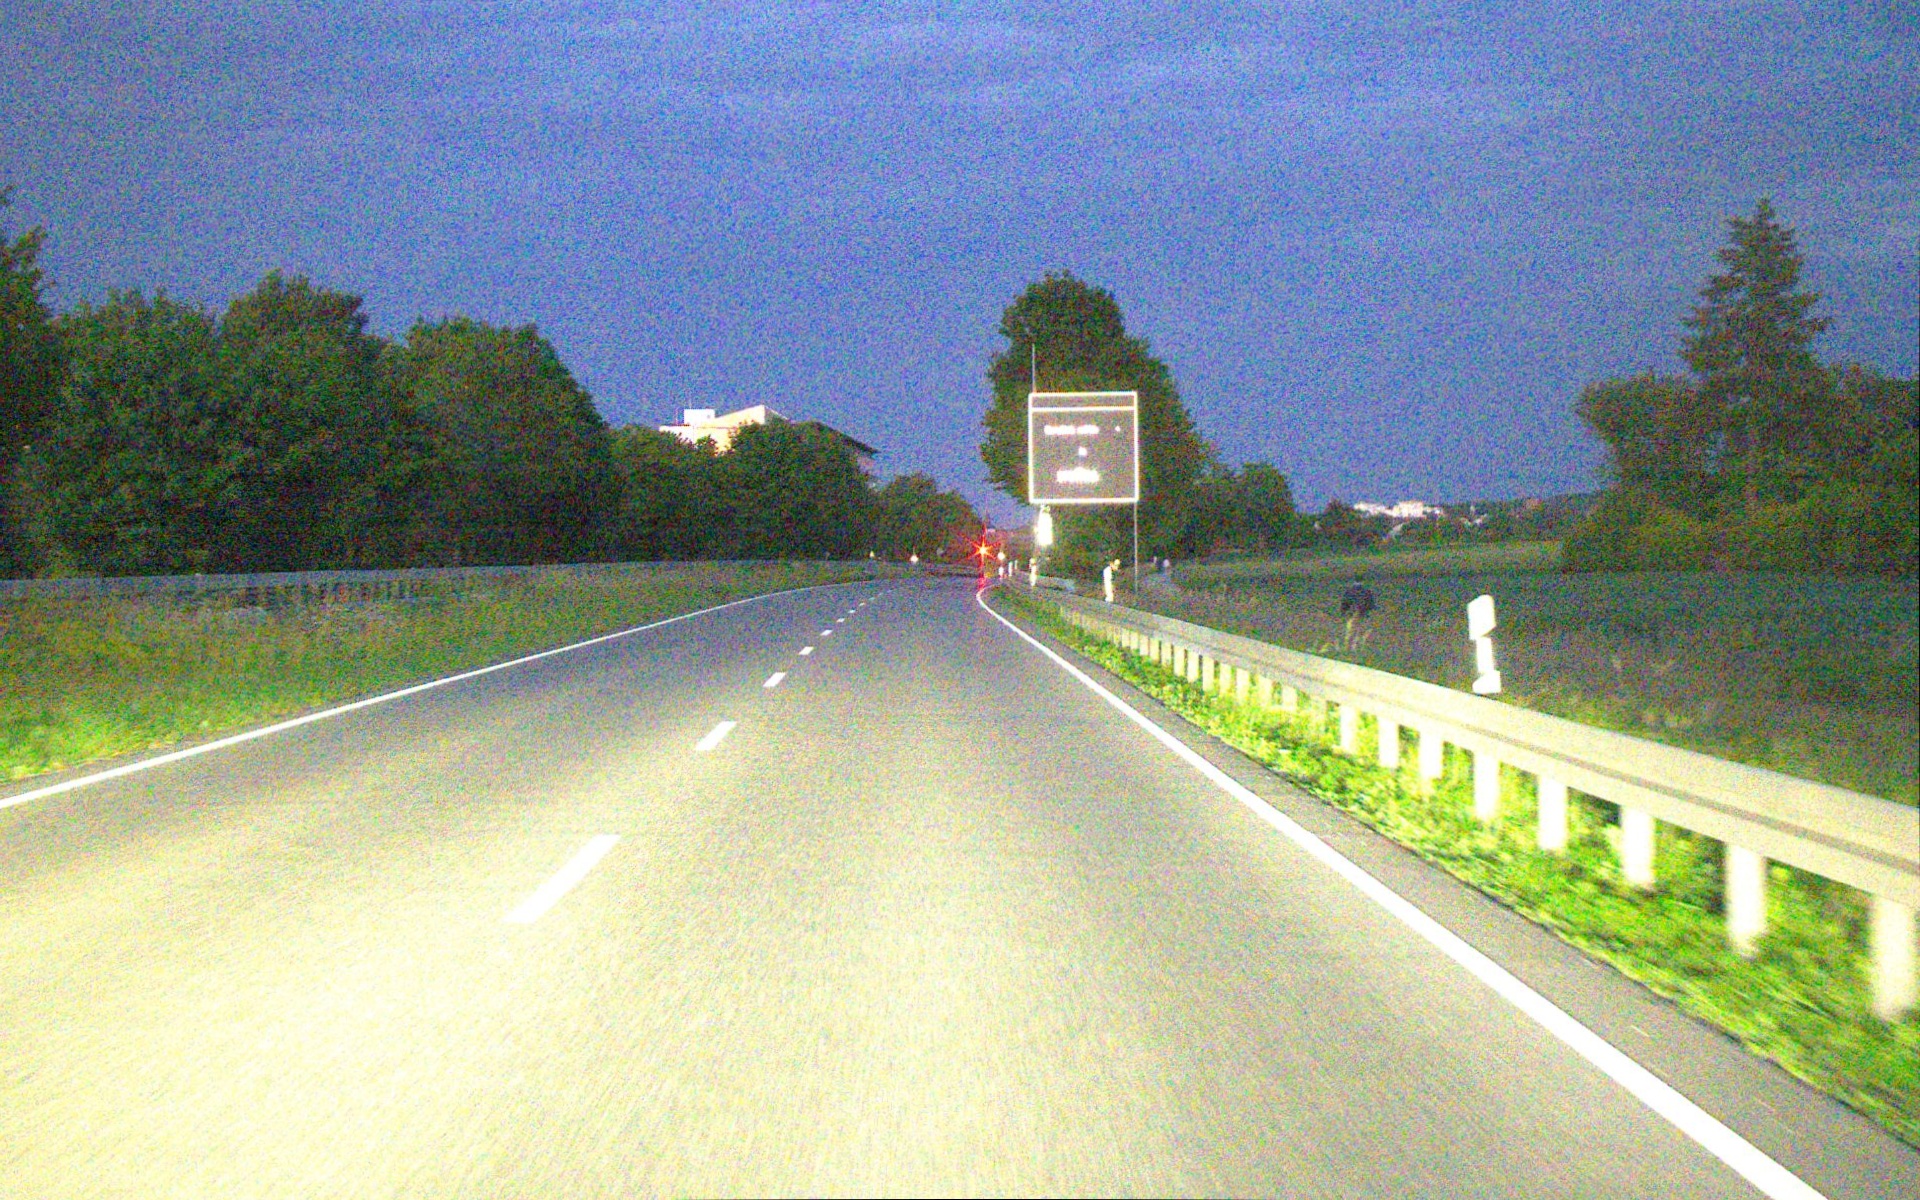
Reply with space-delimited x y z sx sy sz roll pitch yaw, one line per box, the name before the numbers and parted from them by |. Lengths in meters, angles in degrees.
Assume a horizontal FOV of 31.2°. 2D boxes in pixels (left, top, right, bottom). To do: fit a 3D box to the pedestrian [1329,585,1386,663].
pedestrian | 8.457 0.502 73.191 1.062 1.637 1.118 1 0 0
